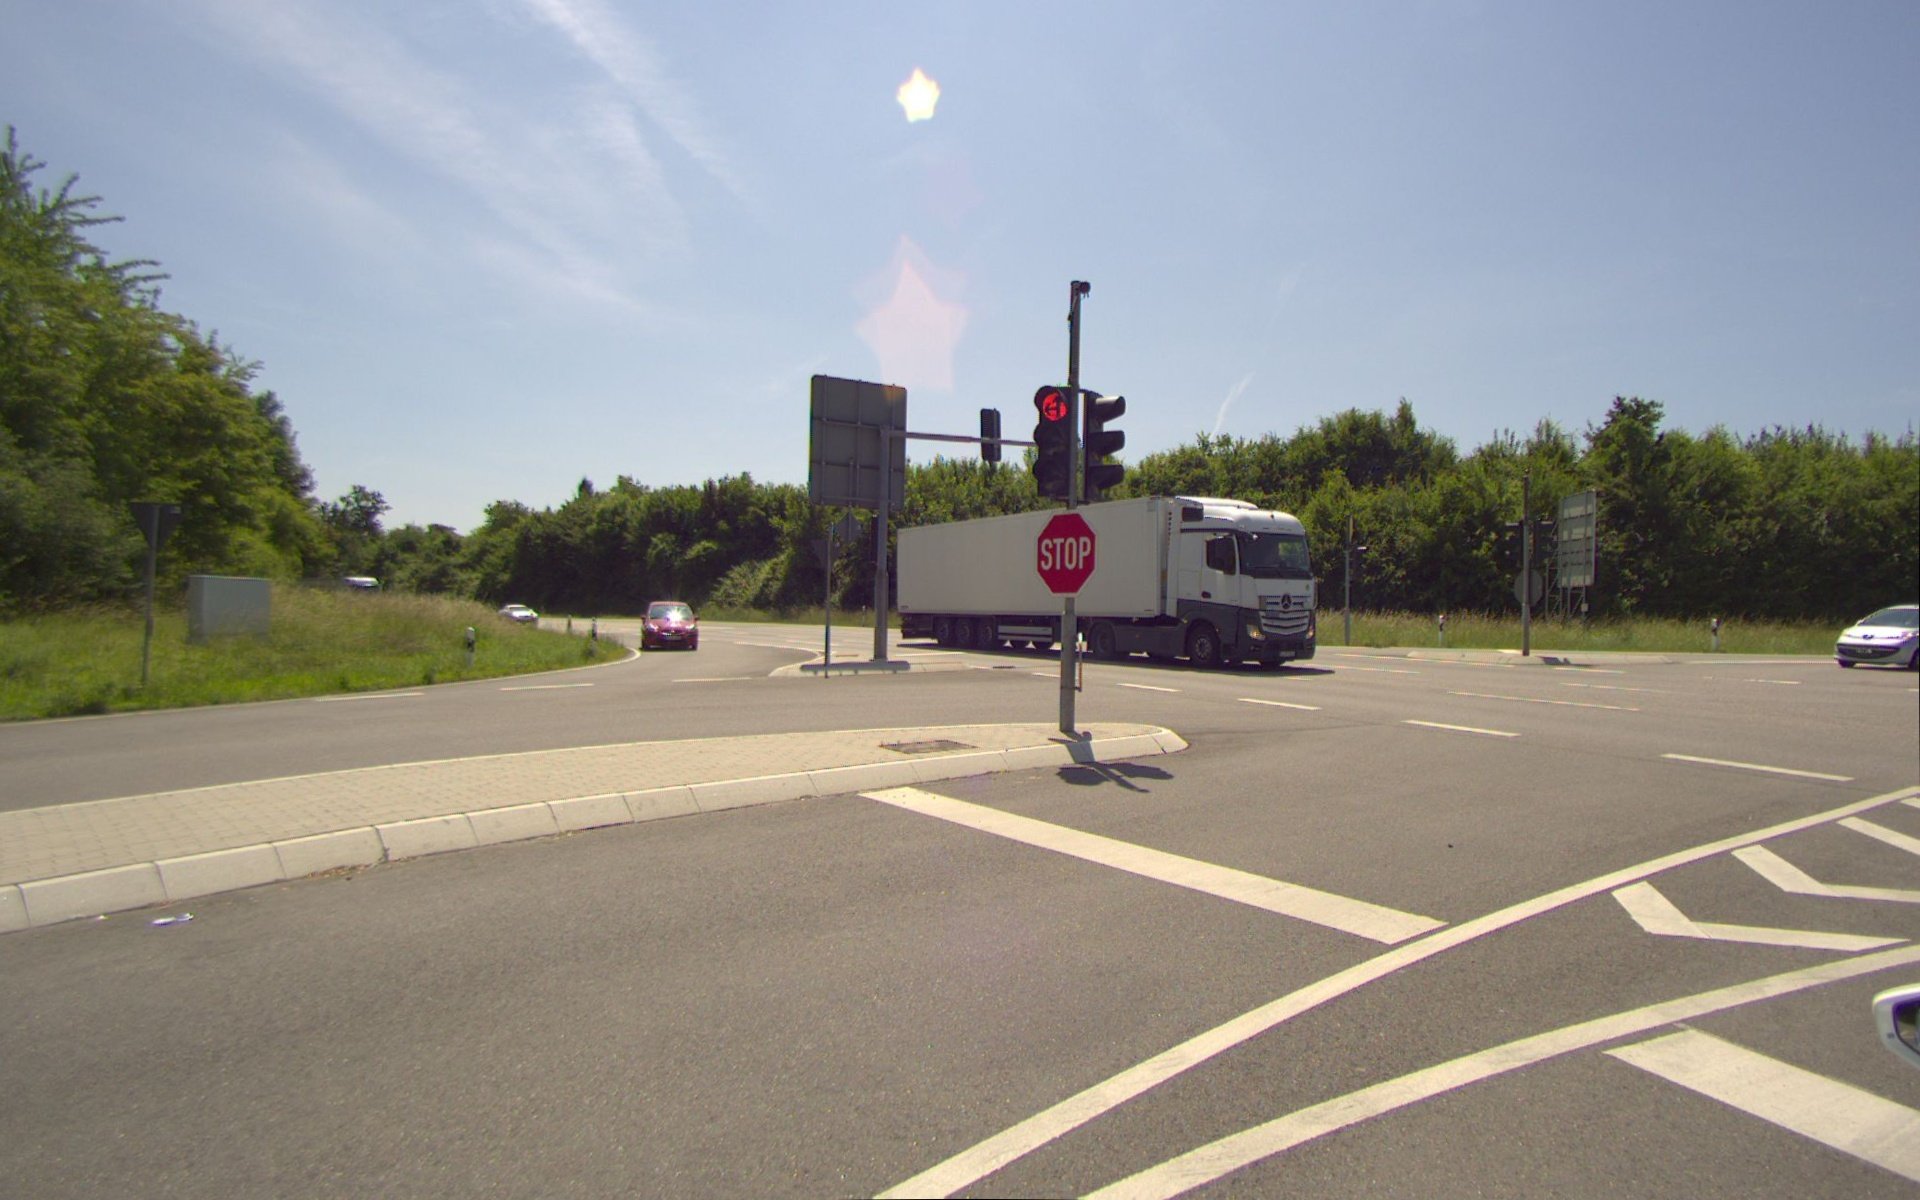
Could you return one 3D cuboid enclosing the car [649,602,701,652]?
[{"bbox_3d":[-9.415,0.842,32.997,1.525,1.519,3.818,0,0,-18],"label":"car"}]

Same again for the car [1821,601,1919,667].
[{"bbox_3d":[21.777,0.739,22.899,3.471,1.389,1.566,0,0,-14],"label":"car"}]

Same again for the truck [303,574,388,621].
[{"bbox_3d":[-62.700,-0.158,102.138,16.224,4.506,3.126,-1,0,43],"label":"truck"}]

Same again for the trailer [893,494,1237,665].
[{"bbox_3d":[2.301,-0.499,30.485,2.631,4.090,13.719,0,0,-31],"label":"trailer"}]

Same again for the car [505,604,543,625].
[{"bbox_3d":[-29.080,0.945,66.905,1.430,1.301,3.791,0,0,-38],"label":"car"}]

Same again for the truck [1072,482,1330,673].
[{"bbox_3d":[5.716,-0.494,24.881,2.631,4.090,6.227,-1,0,-32],"label":"truck"}]
